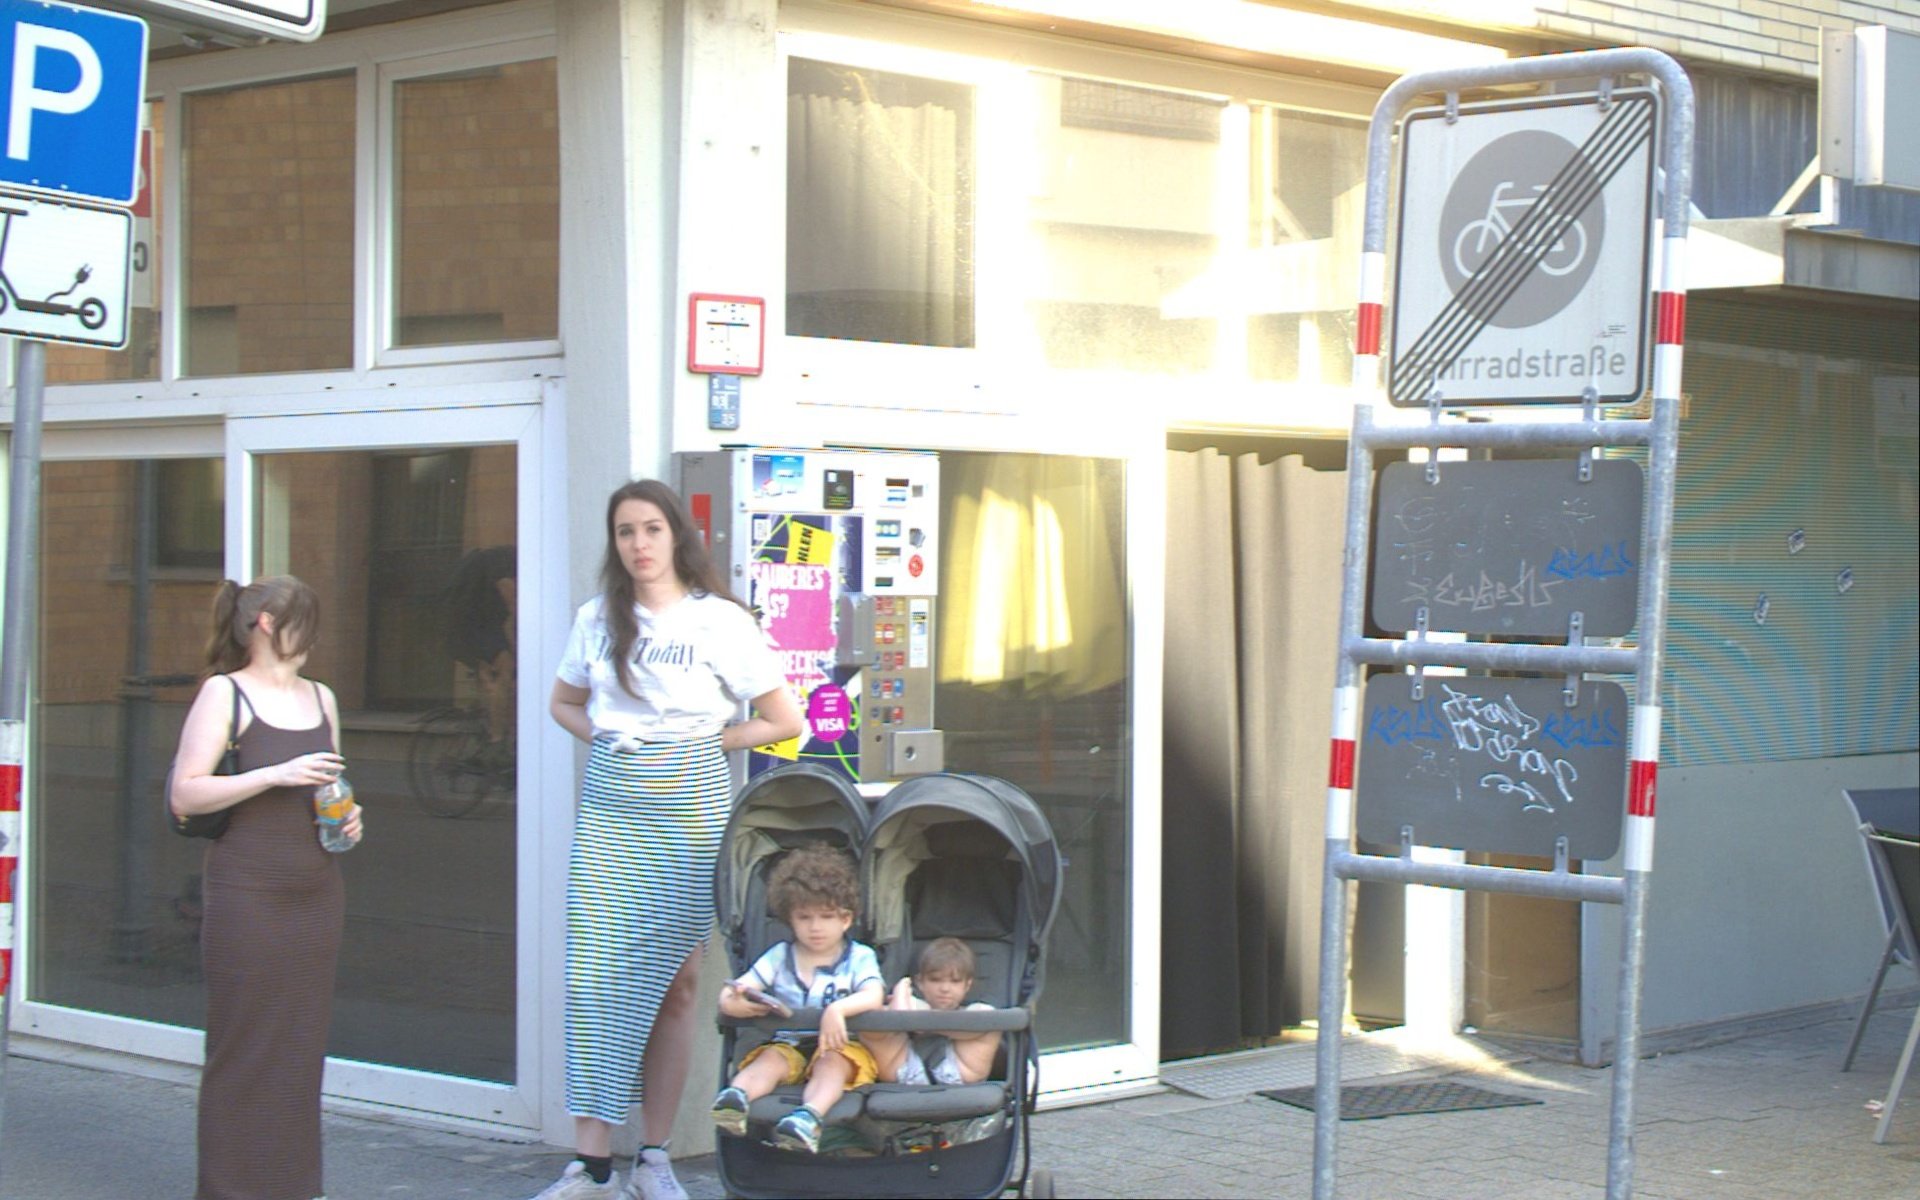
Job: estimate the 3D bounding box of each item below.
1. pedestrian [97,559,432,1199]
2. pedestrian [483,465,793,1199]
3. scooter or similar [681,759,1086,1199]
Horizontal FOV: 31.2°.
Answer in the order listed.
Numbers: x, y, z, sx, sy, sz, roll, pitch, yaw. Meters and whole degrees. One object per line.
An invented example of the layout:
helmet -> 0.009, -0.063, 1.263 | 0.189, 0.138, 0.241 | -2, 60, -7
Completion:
pedestrian -> -1.578, 0.703, 7.809 | 0.532, 1.574, 0.510 | -3, 2, -38
pedestrian -> -0.748, 0.596, 8.150 | 0.657, 1.813, 0.571 | -1, 2, -2
scooter or similar -> -0.168, 0.945, 7.331 | 0.796, 1.140, 0.954 | 1, 1, -2
